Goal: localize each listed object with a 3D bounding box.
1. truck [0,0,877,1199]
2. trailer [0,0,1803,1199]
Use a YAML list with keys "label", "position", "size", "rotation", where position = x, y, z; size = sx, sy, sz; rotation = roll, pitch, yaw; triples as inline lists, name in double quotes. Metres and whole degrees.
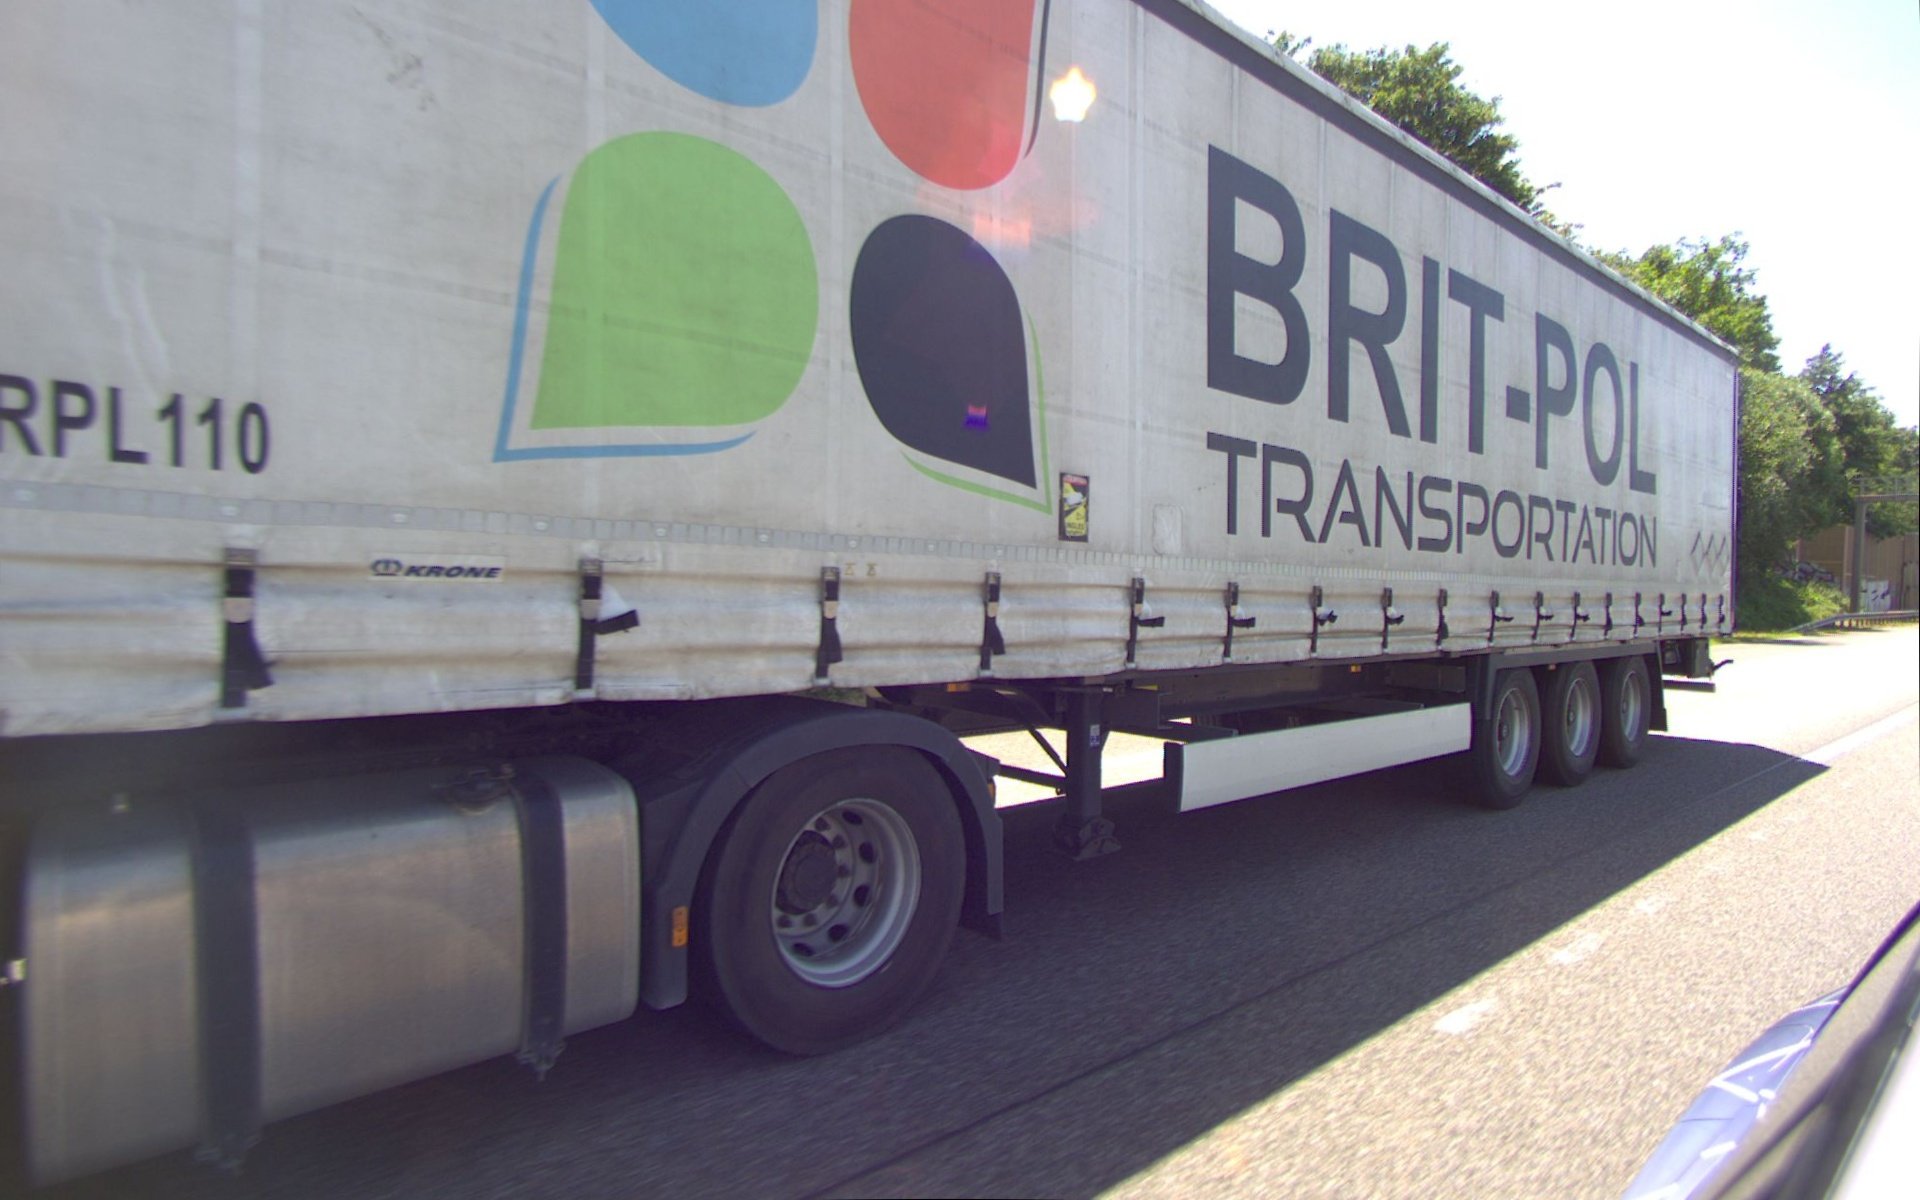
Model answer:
- label: "truck"
  position: [-3.502, -0.860, 2.318]
  size: [5.945, 4.496, 3.094]
  rotation: [-1, 1, -40]
- label: "trailer"
  position: [2.324, -0.922, 7.203]
  size: [14.632, 4.563, 3.113]
  rotation: [-1, 1, -40]
